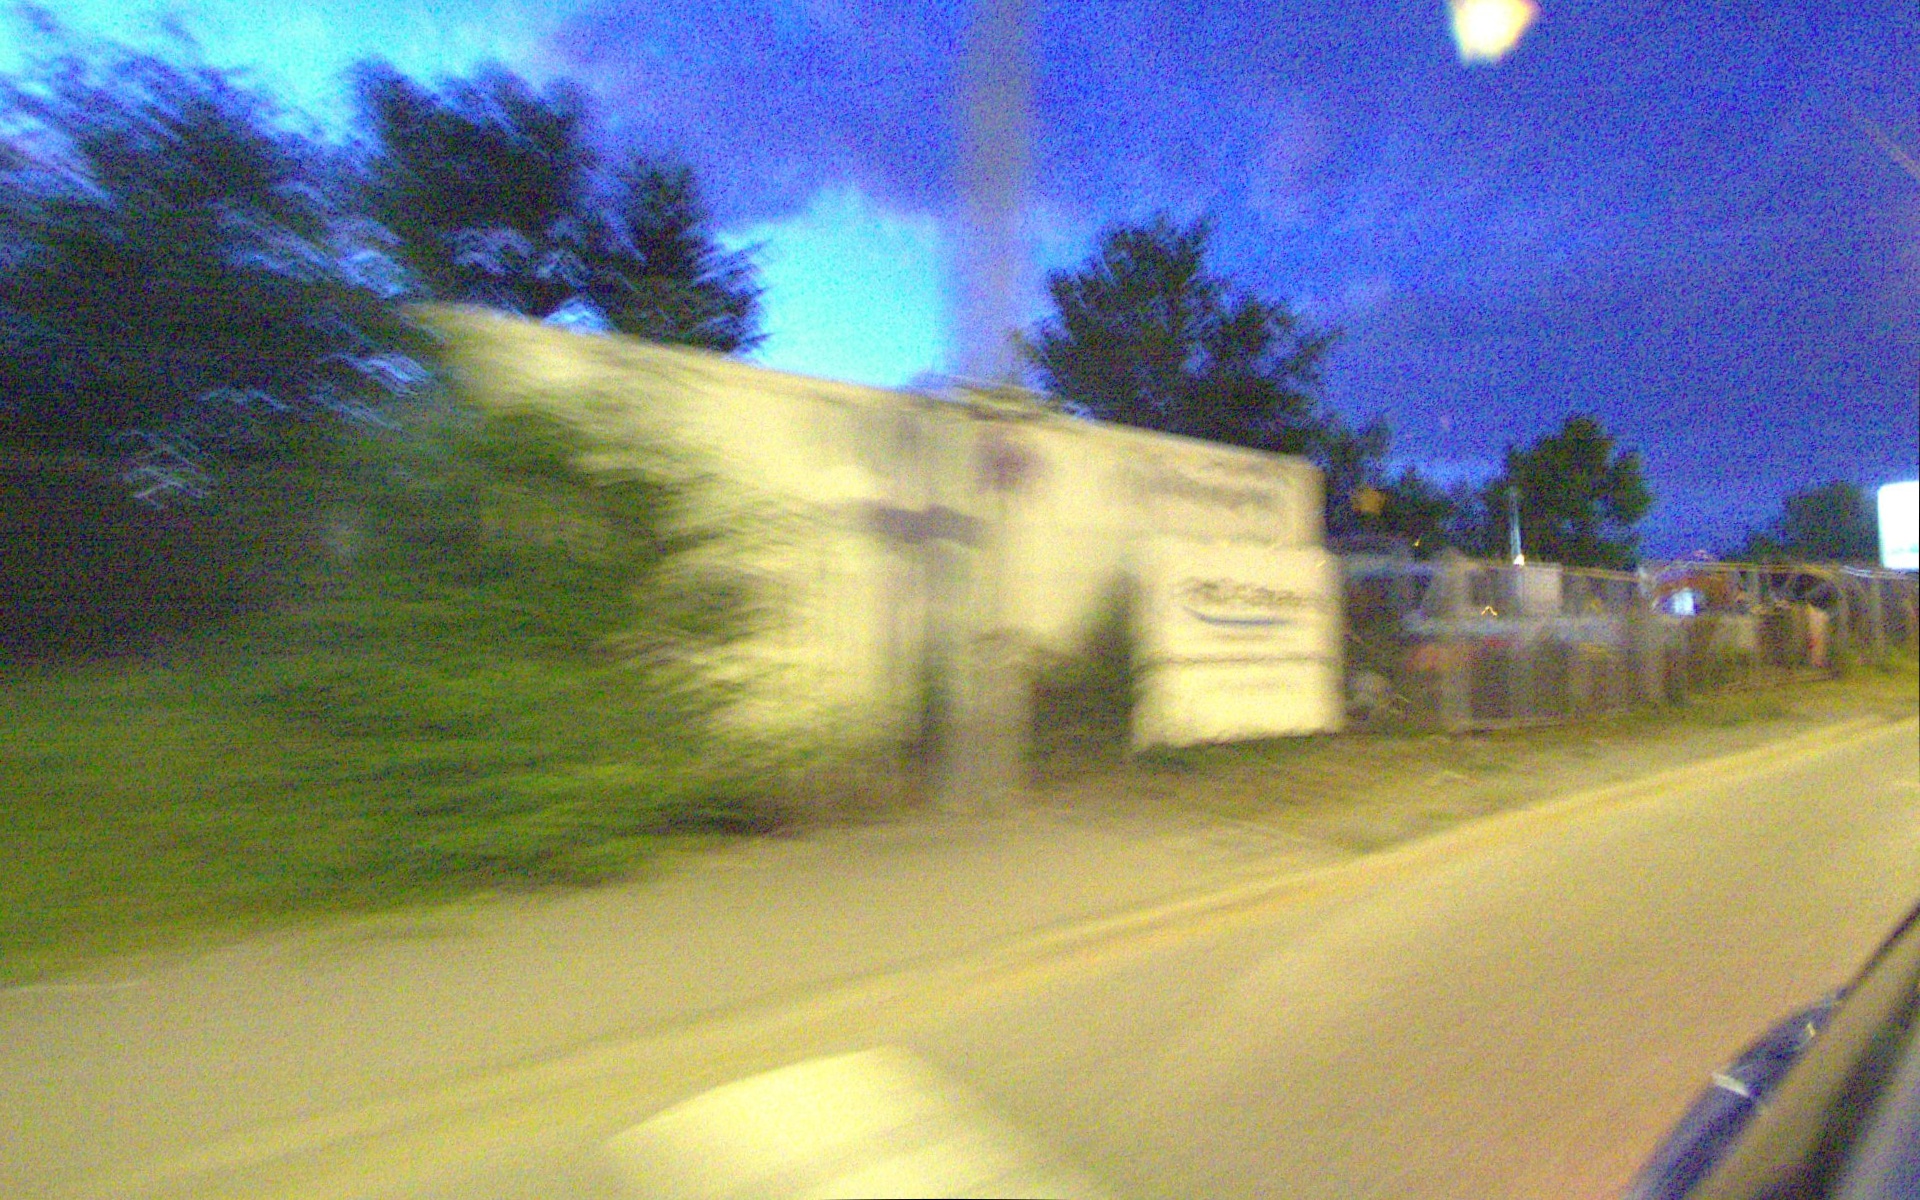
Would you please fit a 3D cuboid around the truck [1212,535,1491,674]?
[{"bbox_3d":[9.092,0.108,23.142,7.174,2.783,2.191,0,-1,-34],"label":"truck"}]

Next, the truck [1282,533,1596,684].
[{"bbox_3d":[9.364,0.176,19.399,7.176,2.454,2.190,0,-1,-35],"label":"truck"}]

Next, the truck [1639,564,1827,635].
[{"bbox_3d":[30.749,-0.024,40.433,2.427,2.633,5.544,0,-1,-37],"label":"truck"}]

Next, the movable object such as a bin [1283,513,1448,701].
[{"bbox_3d":[5.681,0.100,14.176,1.678,2.414,1.592,-1,-2,42],"label":"movable object such as a bin"}]
